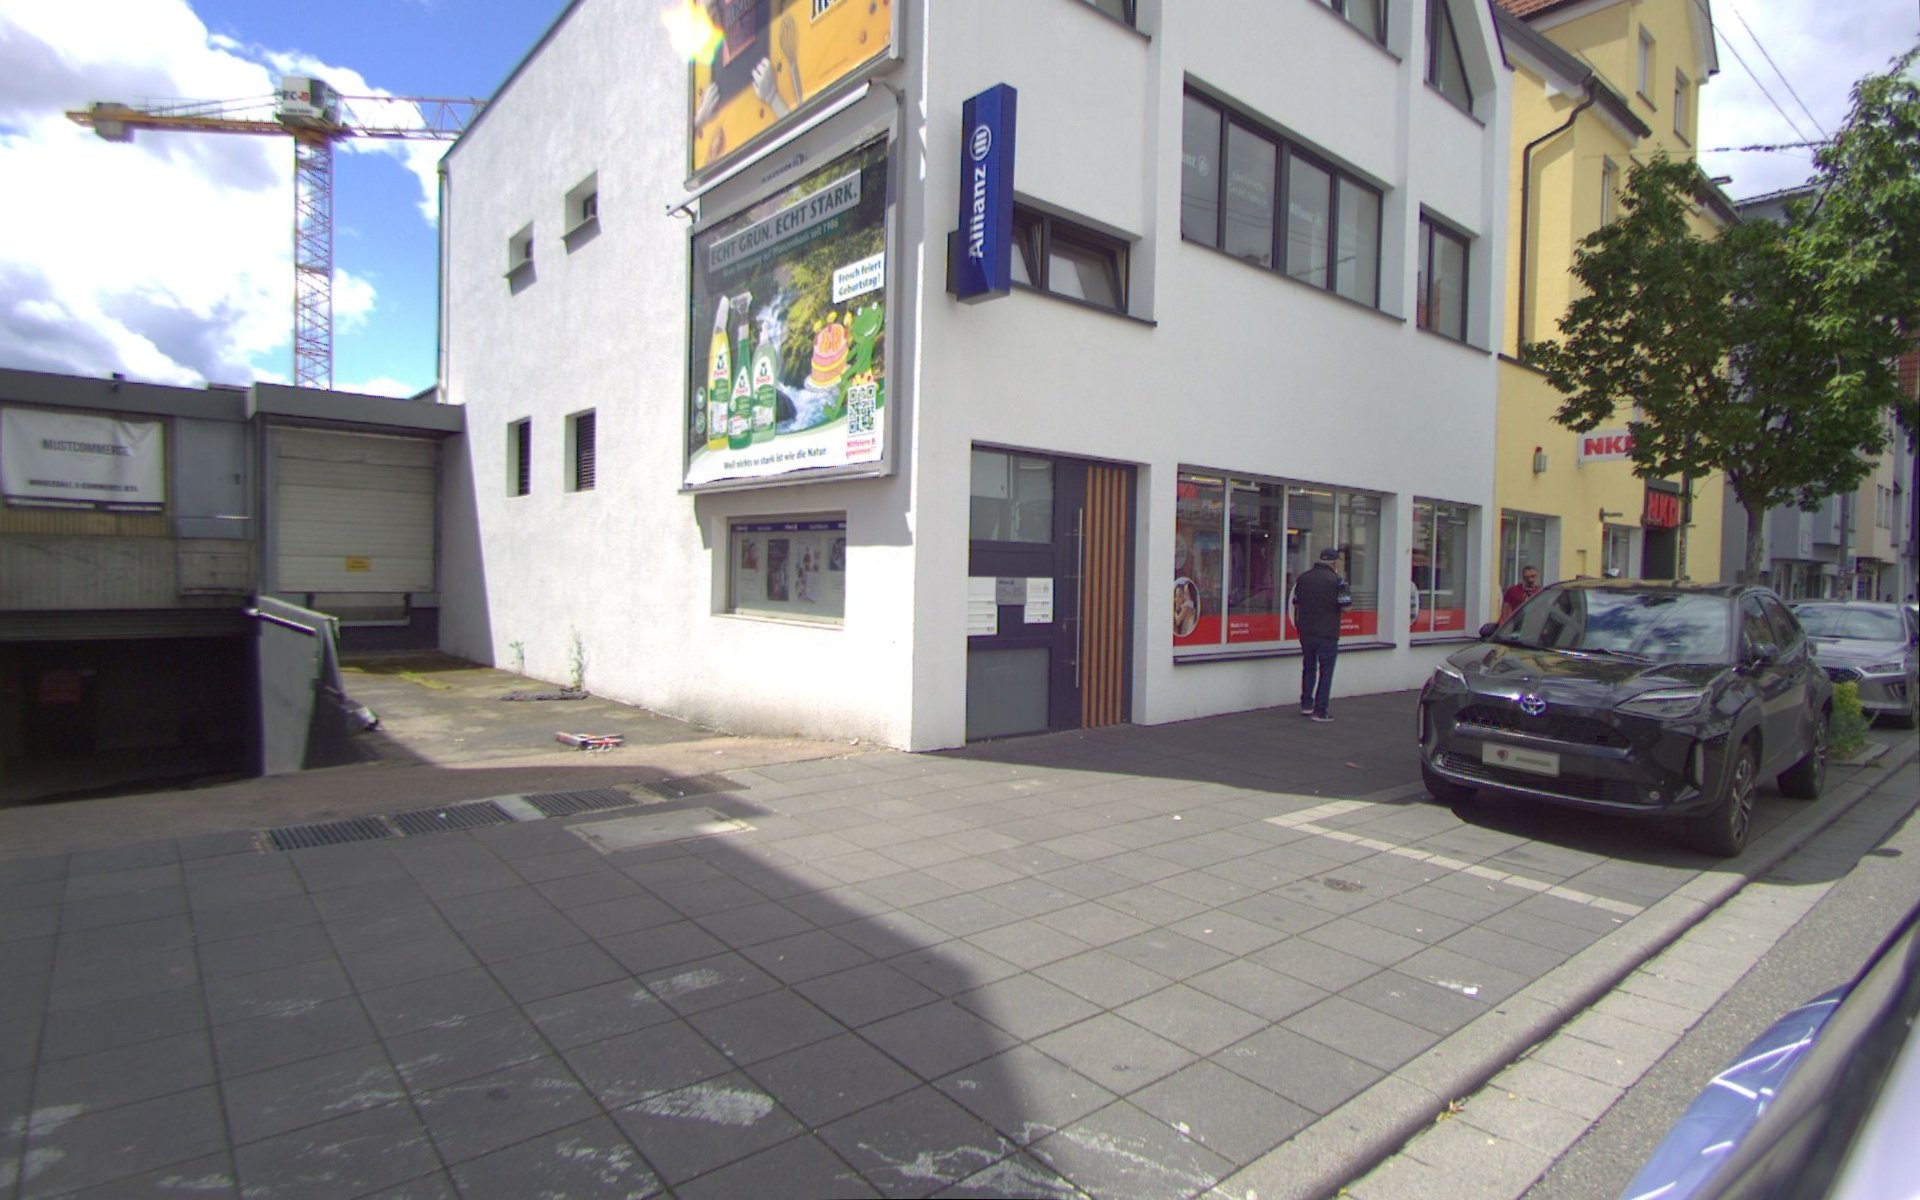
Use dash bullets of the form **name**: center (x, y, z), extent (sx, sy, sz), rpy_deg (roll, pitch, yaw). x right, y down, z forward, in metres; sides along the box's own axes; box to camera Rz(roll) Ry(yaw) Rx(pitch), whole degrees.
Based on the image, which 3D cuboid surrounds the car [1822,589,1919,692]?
- **car**: center (15.935, 0.580, 16.813), extent (4.869, 1.494, 1.634), rpy_deg (-1, 1, -39)

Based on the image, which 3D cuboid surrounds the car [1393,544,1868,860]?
- **car**: center (4.852, 0.482, 7.096), extent (4.037, 1.596, 1.724), rpy_deg (-1, 1, -40)

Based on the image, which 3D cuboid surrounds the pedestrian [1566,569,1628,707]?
- **pedestrian**: center (8.879, 0.512, 14.112), extent (0.566, 1.864, 0.589), rpy_deg (0, 0, -40)

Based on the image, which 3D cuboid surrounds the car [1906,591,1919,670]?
- **car**: center (20.080, 0.624, 20.052), extent (4.447, 1.491, 1.691), rpy_deg (2, -1, -43)

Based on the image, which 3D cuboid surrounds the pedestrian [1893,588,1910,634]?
- **pedestrian**: center (35.439, 0.410, 38.111), extent (0.528, 1.739, 0.436), rpy_deg (-1, 0, -43)

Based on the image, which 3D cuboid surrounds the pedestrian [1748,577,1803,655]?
- **pedestrian**: center (17.116, 0.318, 21.252), extent (0.713, 1.572, 0.751), rpy_deg (-1, 2, -41)

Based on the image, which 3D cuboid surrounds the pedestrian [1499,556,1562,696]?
- **pedestrian**: center (7.810, 0.339, 13.849), extent (0.566, 1.864, 0.589), rpy_deg (0, 0, -40)

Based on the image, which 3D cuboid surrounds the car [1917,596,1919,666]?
- **car**: center (23.792, 0.681, 23.710), extent (3.691, 1.594, 1.692), rpy_deg (-1, 1, -42)

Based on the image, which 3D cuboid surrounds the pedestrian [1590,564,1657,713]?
- **pedestrian**: center (8.517, 0.472, 12.994), extent (0.566, 1.864, 0.589), rpy_deg (0, 0, -40)

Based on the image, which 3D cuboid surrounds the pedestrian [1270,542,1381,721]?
- **pedestrian**: center (3.779, 0.290, 10.471), extent (0.743, 1.758, 0.743), rpy_deg (-1, 3, -40)

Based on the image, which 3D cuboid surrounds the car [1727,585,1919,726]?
- **car**: center (11.407, 0.573, 12.900), extent (4.278, 1.494, 1.724), rpy_deg (-1, 1, -40)
